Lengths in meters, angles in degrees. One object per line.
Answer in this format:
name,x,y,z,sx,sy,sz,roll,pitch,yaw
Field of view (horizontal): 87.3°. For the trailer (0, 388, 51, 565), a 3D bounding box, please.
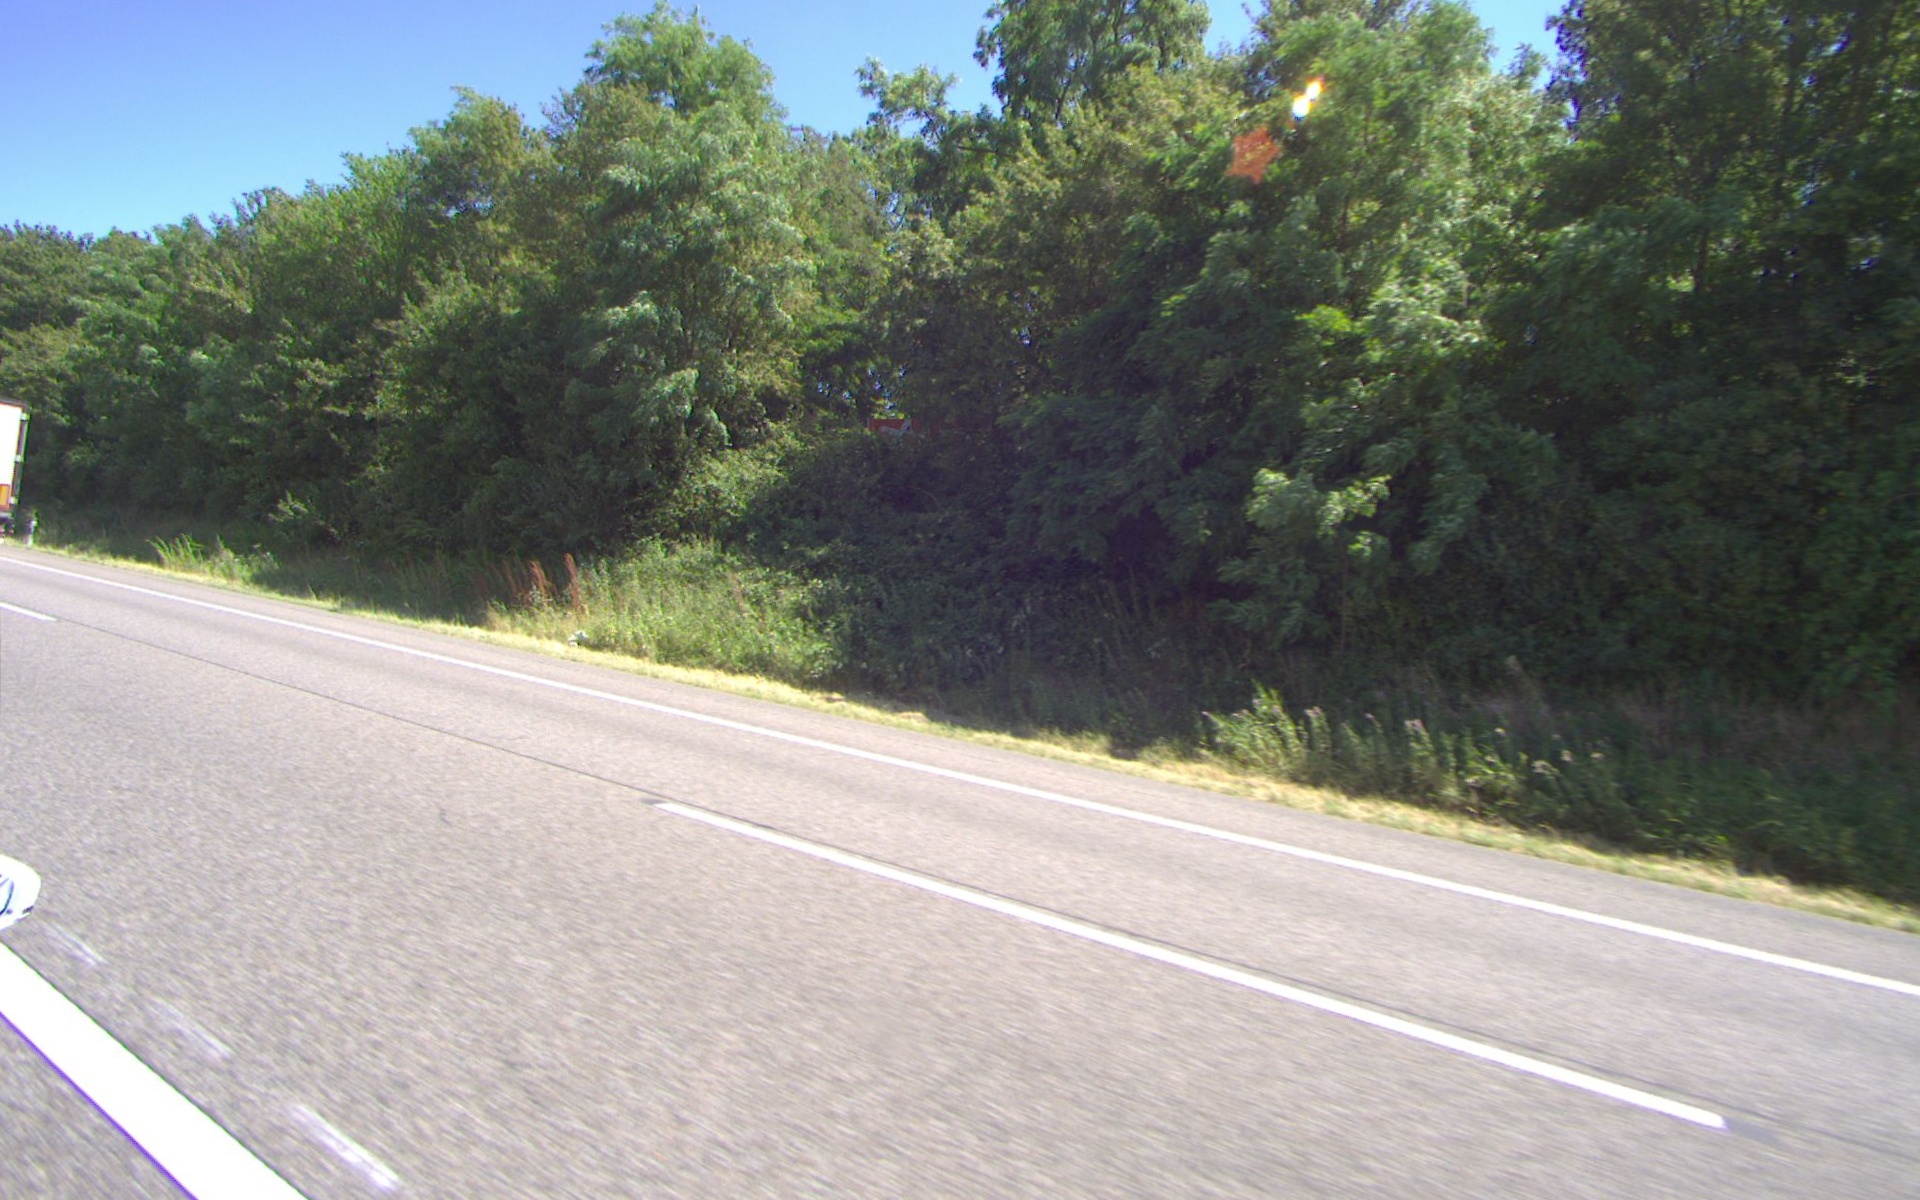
trailer,-29.988,-3.830,27.878,13.604,4.274,3.045,7,-1,31
